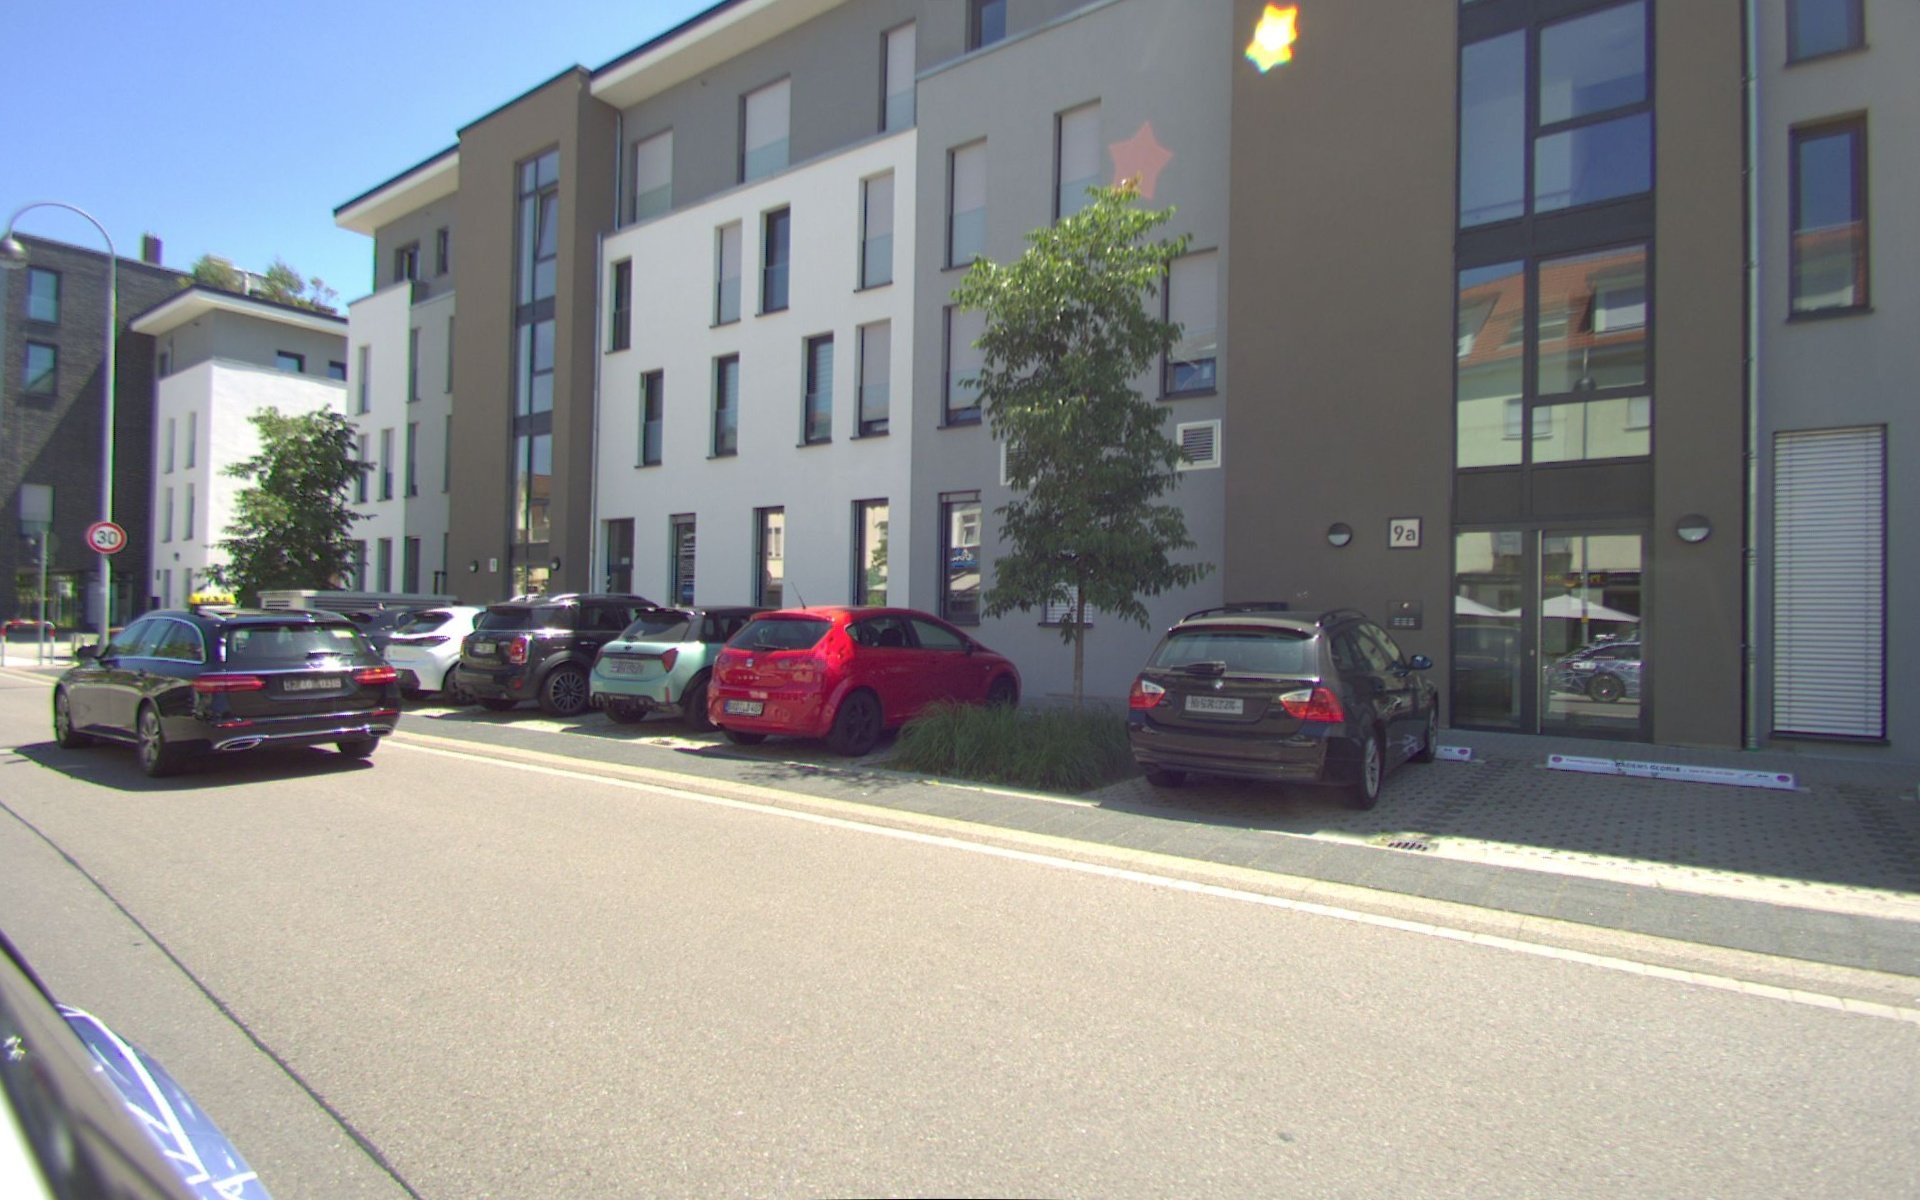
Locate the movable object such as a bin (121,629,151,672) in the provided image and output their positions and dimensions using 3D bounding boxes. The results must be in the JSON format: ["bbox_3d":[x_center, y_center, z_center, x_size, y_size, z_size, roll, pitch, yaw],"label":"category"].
[{"bbox_3d":[-19.594,1.189,24.071,0.554,1.005,0.399,0,-2,35],"label":"movable object such as a bin"}]

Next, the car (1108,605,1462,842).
[{"bbox_3d":[2.951,0.769,8.498,1.880,1.448,4.167,0,0,32],"label":"car"}]

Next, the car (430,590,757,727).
[{"bbox_3d":[-5.120,0.720,14.557,1.998,1.663,3.993,0,0,38],"label":"car"}]

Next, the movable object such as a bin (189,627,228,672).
[{"bbox_3d":[-17.374,1.137,23.405,0.558,1.028,0.550,0,-1,32],"label":"movable object such as a bin"}]

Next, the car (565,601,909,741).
[{"bbox_3d":[-2.722,0.770,13.078,1.998,1.508,3.993,0,0,38],"label":"car"}]

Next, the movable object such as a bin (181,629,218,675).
[{"bbox_3d":[-17.060,1.152,22.702,0.426,1.005,0.549,0,-2,38],"label":"movable object such as a bin"}]

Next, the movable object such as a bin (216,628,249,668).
[{"bbox_3d":[-18.690,1.230,26.011,0.585,1.005,0.480,0,-1,29],"label":"movable object such as a bin"}]

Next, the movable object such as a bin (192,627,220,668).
[{"bbox_3d":[-18.761,1.168,25.185,0.554,1.005,0.399,0,-2,35],"label":"movable object such as a bin"}]

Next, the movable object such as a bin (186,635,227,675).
[{"bbox_3d":[-16.627,1.208,22.342,0.478,0.874,0.552,0,-1,19],"label":"movable object such as a bin"}]

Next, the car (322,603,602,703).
[{"bbox_3d":[-8.602,0.831,17.739,1.997,1.527,3.950,-1,-1,37],"label":"car"}]

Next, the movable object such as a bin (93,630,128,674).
[{"bbox_3d":[-19.887,1.205,23.683,0.586,1.005,0.479,0,-2,35],"label":"movable object such as a bin"}]

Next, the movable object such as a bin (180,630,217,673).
[{"bbox_3d":[-18.025,1.214,23.953,0.402,1.005,0.551,0,-2,23],"label":"movable object such as a bin"}]

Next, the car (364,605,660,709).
[{"bbox_3d":[-7.027,0.800,16.208,1.907,1.432,3.950,0,0,37],"label":"car"}]

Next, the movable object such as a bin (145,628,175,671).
[{"bbox_3d":[-19.332,1.185,24.456,0.554,1.005,0.399,0,-2,35],"label":"movable object such as a bin"}]

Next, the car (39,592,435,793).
[{"bbox_3d":[-7.336,0.763,10.088,4.790,1.565,1.876,-1,-1,37],"label":"car"}]

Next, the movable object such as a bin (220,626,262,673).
[{"bbox_3d":[-16.561,1.126,23.311,0.541,1.047,0.552,0,-1,19],"label":"movable object such as a bin"}]

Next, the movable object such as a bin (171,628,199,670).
[{"bbox_3d":[-19.021,1.187,24.839,0.554,1.005,0.399,0,-2,35],"label":"movable object such as a bin"}]

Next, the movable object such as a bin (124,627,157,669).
[{"bbox_3d":[-19.942,1.168,24.628,0.586,1.005,0.479,0,-2,35],"label":"movable object such as a bin"}]

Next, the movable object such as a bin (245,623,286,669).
[{"bbox_3d":[-16.369,1.073,23.869,0.546,1.047,0.574,0,-1,19],"label":"movable object such as a bin"}]

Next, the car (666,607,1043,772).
[{"bbox_3d":[-0.973,0.807,11.165,1.996,1.441,3.996,0,0,36],"label":"car"}]

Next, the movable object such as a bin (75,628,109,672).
[{"bbox_3d":[-20.505,1.165,23.897,0.587,1.005,0.478,0,-2,37],"label":"movable object such as a bin"}]
